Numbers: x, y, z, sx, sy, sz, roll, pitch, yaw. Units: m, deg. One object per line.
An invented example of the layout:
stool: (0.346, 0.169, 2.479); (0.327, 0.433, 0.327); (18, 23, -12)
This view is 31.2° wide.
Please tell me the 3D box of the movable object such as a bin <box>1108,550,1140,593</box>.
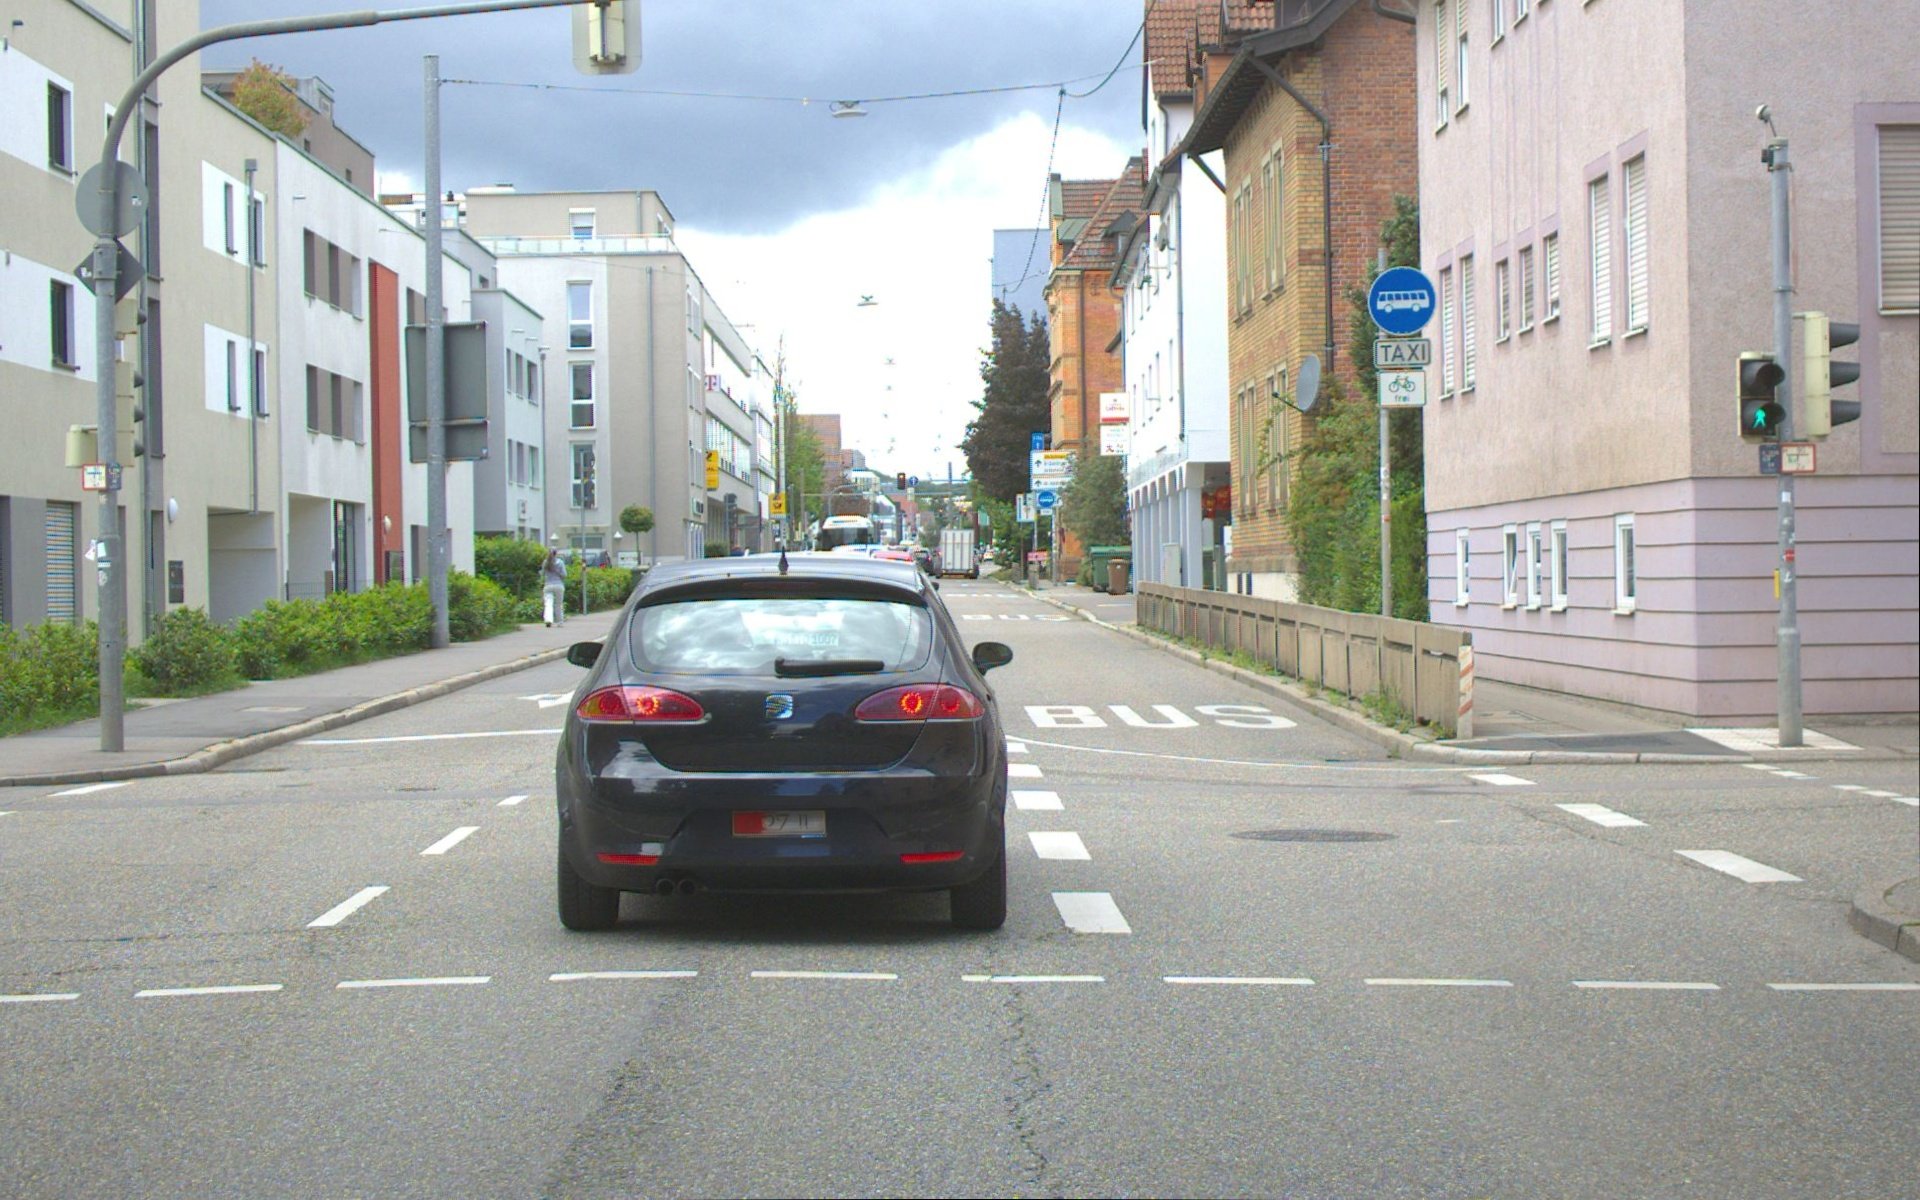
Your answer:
movable object such as a bin: (4.961, -0.864, 104.084); (0.928, 1.279, 0.883); (0, 0, 0)

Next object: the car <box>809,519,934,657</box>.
car: (-1.117, -0.164, 43.956); (1.531, 1.687, 3.693); (0, 0, -1)

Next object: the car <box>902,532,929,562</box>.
car: (-2.554, -3.066, 197.262); (1.531, 1.687, 3.693); (-1, 1, -1)

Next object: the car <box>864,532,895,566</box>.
car: (-3.977, -2.535, 170.450); (1.531, 1.687, 3.693); (-1, 1, -1)

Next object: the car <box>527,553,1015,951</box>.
car: (-0.708, 0.533, 14.433); (1.759, 1.437, 4.000); (0, 0, -1)

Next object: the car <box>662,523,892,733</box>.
car: (-1.512, 0.207, 29.680); (1.842, 1.687, 4.000); (0, 0, -1)

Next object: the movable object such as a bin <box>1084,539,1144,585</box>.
movable object such as a bin: (4.866, -1.199, 108.573); (1.818, 1.432, 1.993); (0, 0, 0)

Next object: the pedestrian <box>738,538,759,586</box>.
pedestrian: (-7.651, -1.369, 124.318); (0.730, 1.723, 0.859); (0, 0, -1)

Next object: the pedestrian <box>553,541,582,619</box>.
pedestrian: (-7.797, -0.405, 68.305); (0.526, 1.542, 0.541); (0, 0, -1)

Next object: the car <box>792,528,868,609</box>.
car: (-2.759, -0.671, 73.395); (1.531, 1.687, 3.693); (0, 0, -1)

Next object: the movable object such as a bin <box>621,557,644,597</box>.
movable object such as a bin: (-8.702, -0.613, 91.264); (0.549, 1.075, 0.612); (0, 0, 0)
